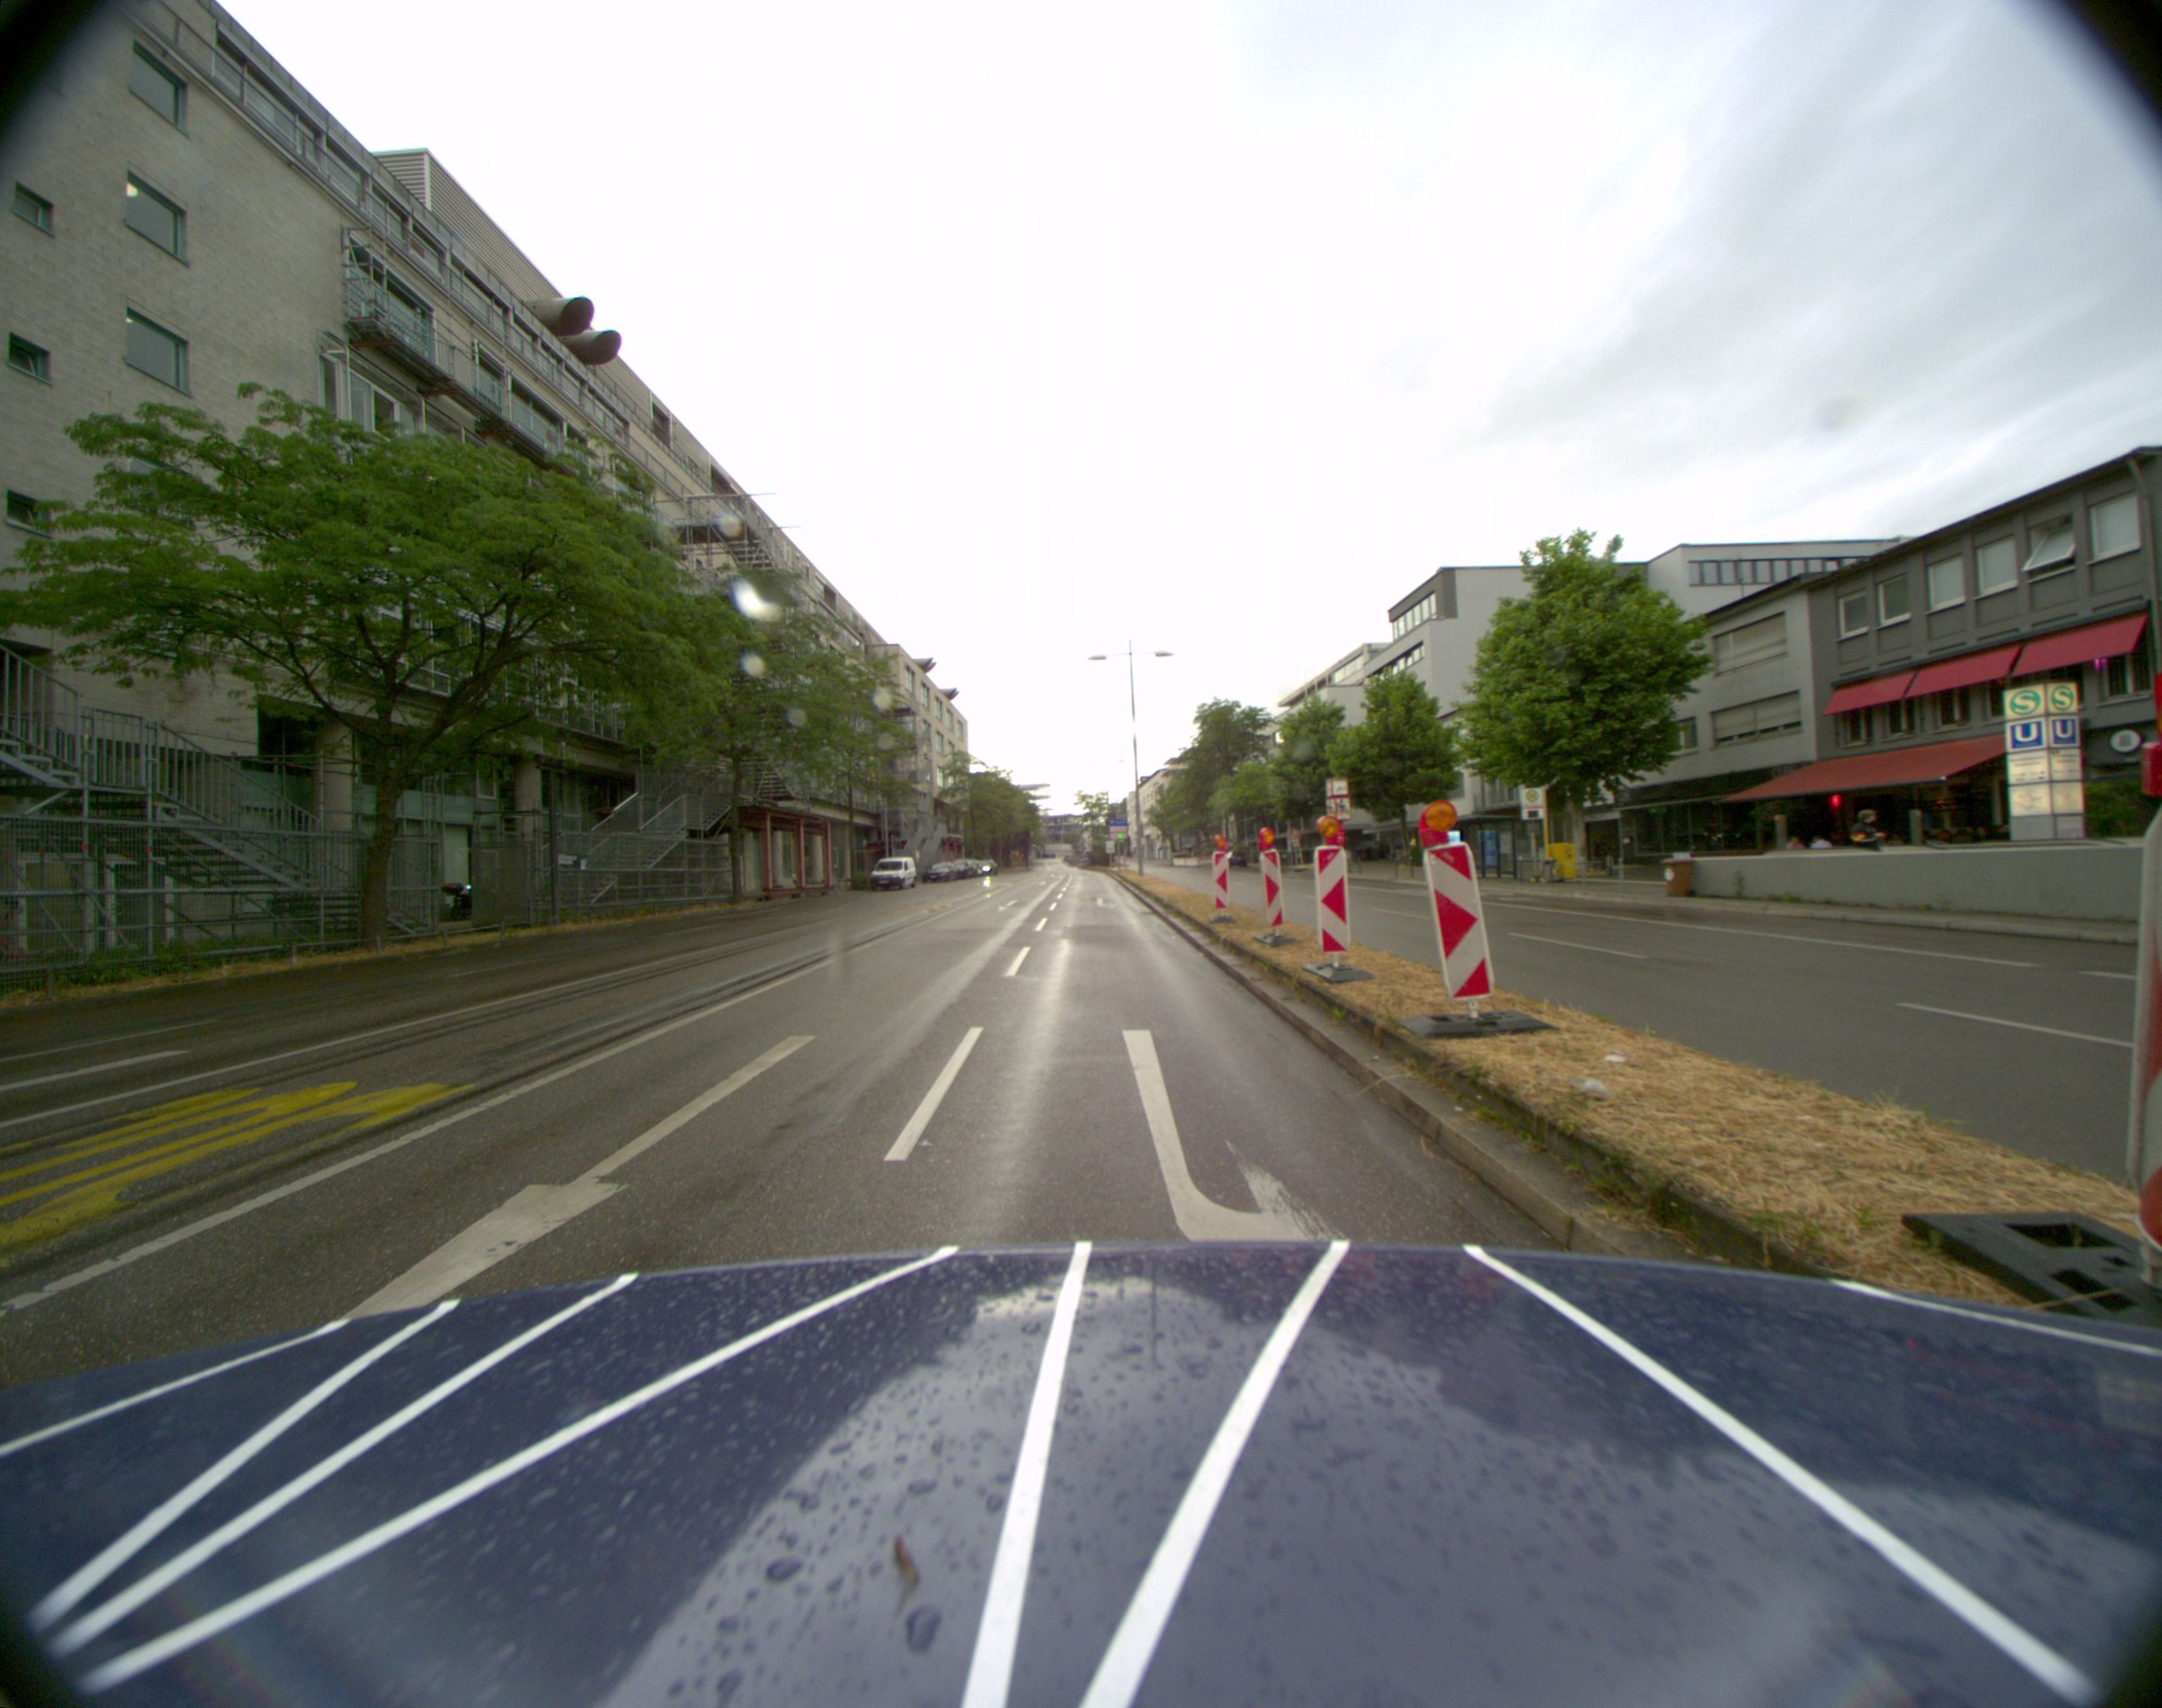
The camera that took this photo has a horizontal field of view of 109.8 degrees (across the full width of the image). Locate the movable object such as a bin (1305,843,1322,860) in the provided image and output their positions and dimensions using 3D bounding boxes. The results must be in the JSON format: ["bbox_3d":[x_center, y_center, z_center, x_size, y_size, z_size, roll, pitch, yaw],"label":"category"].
[{"bbox_3d":[21.707,-0.225,70.912,1.281,1.480,1.088,-2,1,1],"label":"movable object such as a bin"}]

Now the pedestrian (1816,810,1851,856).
[{"bbox_3d":[26.047,-0.706,26.308,0.598,1.561,0.604,-2,1,-9],"label":"pedestrian"}]

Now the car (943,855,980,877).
[{"bbox_3d":[-9.585,0.947,61.334,1.998,1.636,4.863,-2,0,3],"label":"car"}]

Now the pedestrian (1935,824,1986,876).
[{"bbox_3d":[24.778,-0.109,21.411,0.635,1.442,0.691,-2,1,-6],"label":"pedestrian"}]

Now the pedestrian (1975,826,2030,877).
[{"bbox_3d":[24.924,-0.057,20.551,0.635,1.336,0.691,-2,1,-6],"label":"pedestrian"}]

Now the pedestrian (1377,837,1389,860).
[{"bbox_3d":[23.932,-0.424,60.280,0.698,1.753,0.653,-1,1,3],"label":"pedestrian"}]

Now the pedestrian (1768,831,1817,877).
[{"bbox_3d":[23.112,0.005,24.690,0.691,1.442,0.914,-2,0,-4],"label":"pedestrian"}]

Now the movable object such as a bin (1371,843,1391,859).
[{"bbox_3d":[27.246,-0.279,69.012,1.088,1.427,1.281,-2,0,-9],"label":"movable object such as a bin"}]

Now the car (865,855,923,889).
[{"bbox_3d":[-10.445,0.961,42.795,1.998,1.739,4.526,-2,0,1],"label":"car"}]

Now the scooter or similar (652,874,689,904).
[{"bbox_3d":[-17.175,1.459,31.826,0.633,1.155,1.547,-2,0,1],"label":"scooter or similar"}]

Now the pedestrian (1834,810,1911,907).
[{"bbox_3d":[15.757,0.086,15.139,0.691,1.874,0.758,-2,1,-4],"label":"pedestrian"}]

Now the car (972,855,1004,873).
[{"bbox_3d":[-8.848,0.944,72.627,1.998,1.591,5.290,-2,0,4],"label":"car"}]

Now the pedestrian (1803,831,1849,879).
[{"bbox_3d":[23.186,0.031,23.656,0.691,1.442,0.707,-2,1,-4],"label":"pedestrian"}]

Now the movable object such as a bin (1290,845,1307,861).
[{"bbox_3d":[20.312,-0.109,70.920,1.281,1.418,1.088,-2,1,1],"label":"movable object such as a bin"}]

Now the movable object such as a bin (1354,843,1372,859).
[{"bbox_3d":[26.652,-0.301,71.929,1.088,1.427,1.281,-2,0,-9],"label":"movable object such as a bin"}]

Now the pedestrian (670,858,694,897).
[{"bbox_3d":[-18.233,1.061,34.741,0.677,1.732,0.653,-1,1,3],"label":"pedestrian"}]

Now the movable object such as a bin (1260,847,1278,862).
[{"bbox_3d":[17.521,0.050,70.893,1.362,1.418,1.088,-2,1,1],"label":"movable object such as a bin"}]

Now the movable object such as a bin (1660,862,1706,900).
[{"bbox_3d":[14.522,0.648,18.345,0.533,0.892,0.682,0,0,-9],"label":"movable object such as a bin"}]

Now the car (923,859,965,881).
[{"bbox_3d":[-9.775,1.105,54.541,1.873,1.429,4.922,-2,0,3],"label":"car"}]

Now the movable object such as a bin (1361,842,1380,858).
[{"bbox_3d":[26.840,-0.357,70.391,1.088,1.427,1.281,-2,0,-9],"label":"movable object such as a bin"}]

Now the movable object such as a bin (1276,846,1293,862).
[{"bbox_3d":[18.961,0.013,70.895,1.281,1.418,1.088,-2,1,1],"label":"movable object such as a bin"}]

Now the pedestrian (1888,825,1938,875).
[{"bbox_3d":[24.952,-0.119,22.788,0.728,1.442,0.691,-2,1,-6],"label":"pedestrian"}]

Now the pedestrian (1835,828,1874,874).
[{"bbox_3d":[24.910,-0.088,24.477,0.691,1.442,0.547,-2,1,-4],"label":"pedestrian"}]

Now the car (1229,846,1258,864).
[{"bbox_3d":[15.887,0.116,74.558,1.783,1.626,4.023,-2,0,-2],"label":"car"}]

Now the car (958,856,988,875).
[{"bbox_3d":[-9.441,0.959,66.708,1.866,1.591,4.593,-2,0,1],"label":"car"}]
